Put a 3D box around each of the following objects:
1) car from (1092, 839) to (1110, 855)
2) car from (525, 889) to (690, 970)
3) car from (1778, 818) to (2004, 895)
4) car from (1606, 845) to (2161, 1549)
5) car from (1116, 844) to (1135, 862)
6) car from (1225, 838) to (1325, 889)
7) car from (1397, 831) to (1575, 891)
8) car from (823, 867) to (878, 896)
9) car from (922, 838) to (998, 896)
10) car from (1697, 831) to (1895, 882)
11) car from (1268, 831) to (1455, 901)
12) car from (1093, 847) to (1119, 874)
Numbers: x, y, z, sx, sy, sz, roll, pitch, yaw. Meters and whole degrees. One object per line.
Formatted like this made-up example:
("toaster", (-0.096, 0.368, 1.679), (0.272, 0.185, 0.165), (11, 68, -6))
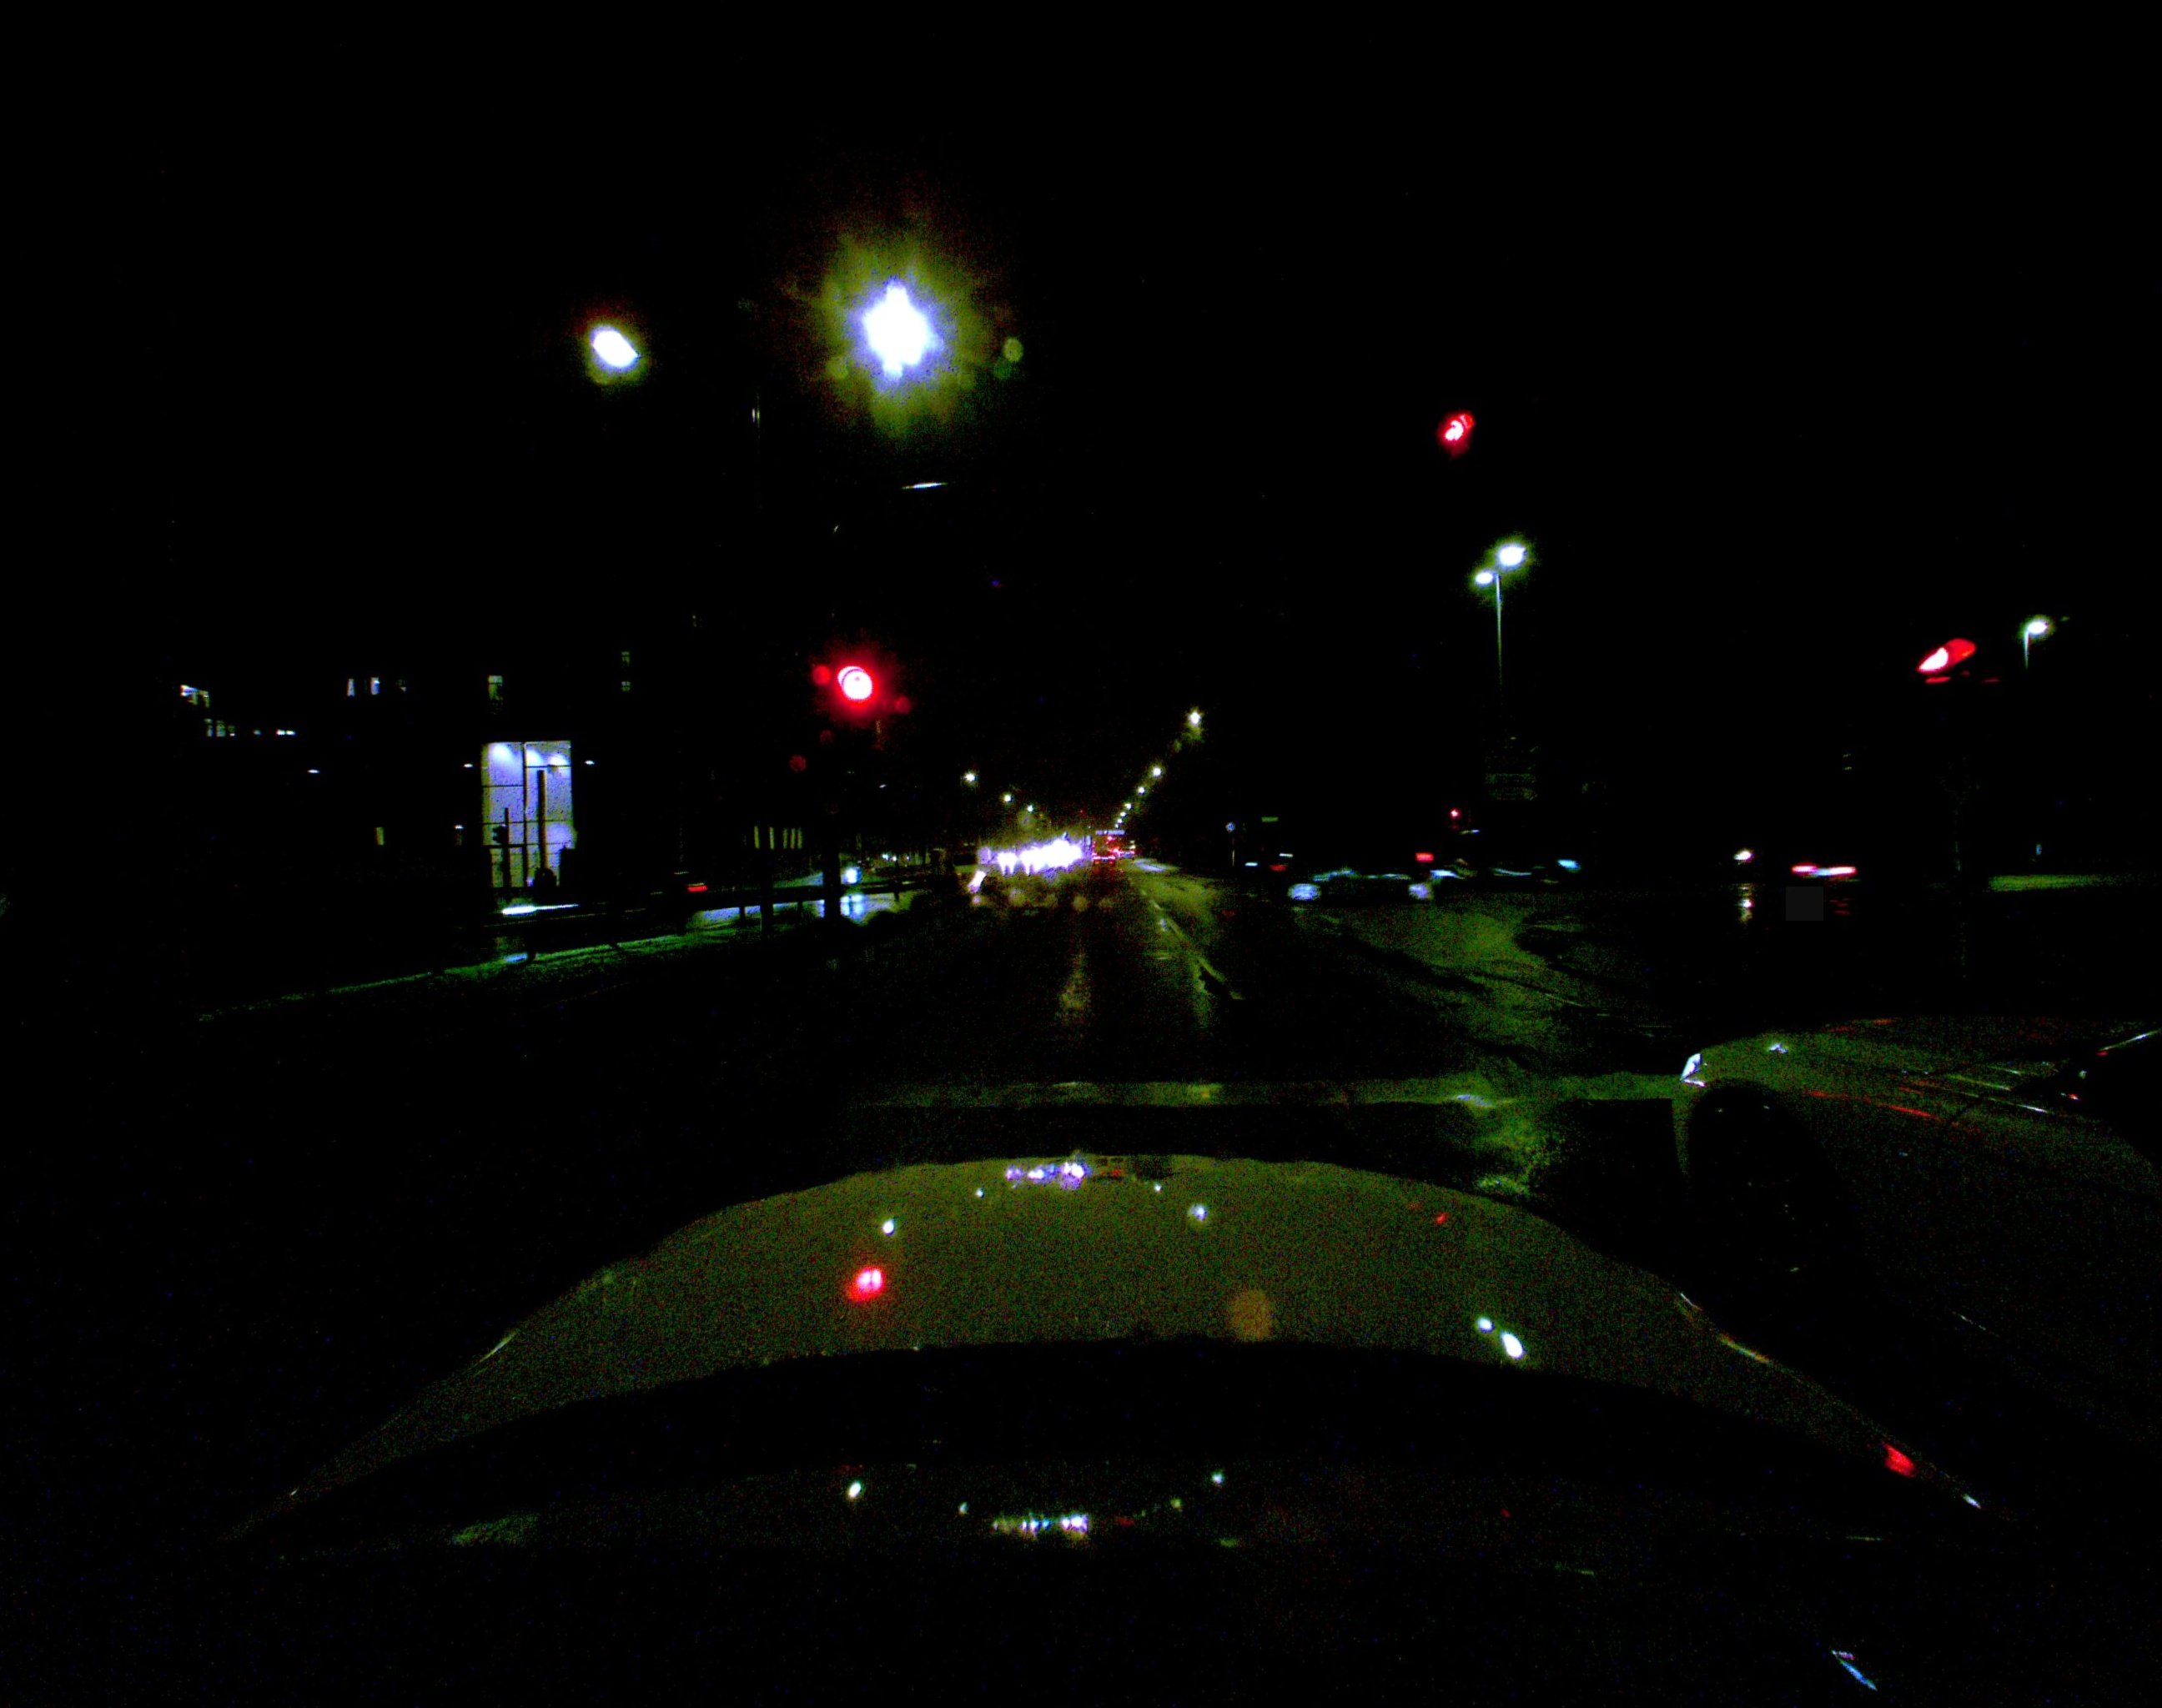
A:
("car", (2.959, -1.069, 122.039), (2.434, 2.194, 5.076), (-1, -1, -1))
("car", (-10.537, 1.616, 18.447), (1.694, 1.516, 3.565), (-1, -1, -1))
("car", (19.681, 0.063, 19.923), (3.737, 1.734, 1.724), (-1, -1, 2))
("car", (3.125, 0.717, 1.309), (1.714, 1.446, 4.383), (-3, -1, 1))
("car", (5.268, -0.079, 95.371), (2.029, 2.014, 4.312), (-1, -1, 4))
("car", (8.211, 0.398, 34.331), (3.956, 2.014, 2.009), (-1, -1, 16))
("car", (11.832, 0.226, 24.121), (4.463, 1.618, 1.917), (-1, -1, 18))
("car", (-12.898, 1.513, 45.792), (1.817, 1.464, 4.001), (-1, -1, 2))
("car", (-4.523, 0.464, 30.152), (1.708, 2.014, 3.536), (-1, -1, -27))
("car", (24.198, 0.098, 27.743), (4.823, 1.590, 1.857), (-1, -1, 8))
("car", (7.235, 0.345, 21.175), (4.365, 1.672, 1.969), (-1, -1, 20))
("car", (2.058, 0.502, 65.998), (2.030, 2.082, 4.309), (-1, -1, 2))
